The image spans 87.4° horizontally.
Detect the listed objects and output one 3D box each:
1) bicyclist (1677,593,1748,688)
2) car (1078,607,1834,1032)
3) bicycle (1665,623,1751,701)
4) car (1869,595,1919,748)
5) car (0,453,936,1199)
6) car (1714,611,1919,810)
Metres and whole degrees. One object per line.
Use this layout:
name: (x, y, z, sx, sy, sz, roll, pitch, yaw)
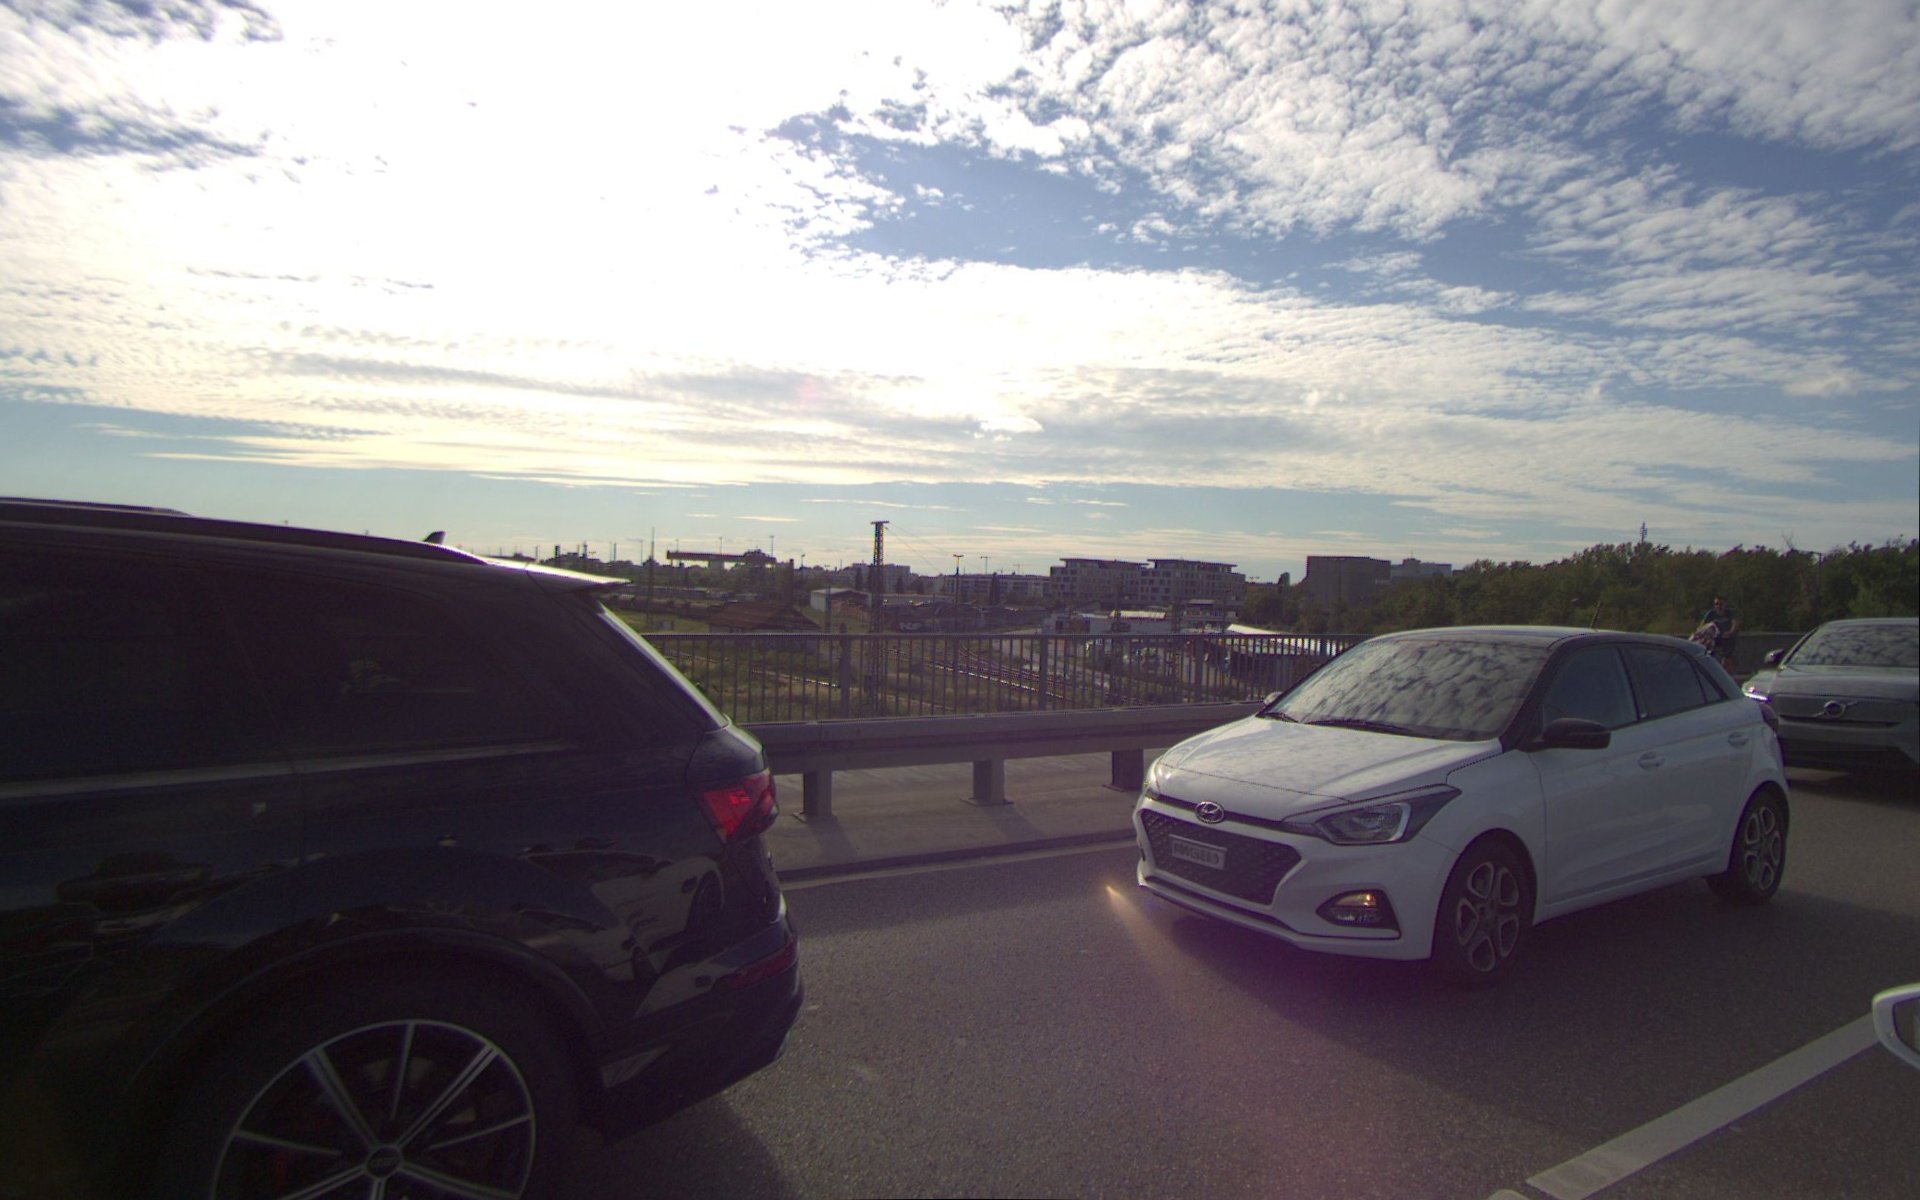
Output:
bicyclist: (13.794, 0.735, 18.418, 1.110, 1.682, 0.761, 2, -1, -37)
car: (2.768, 0.839, 5.386, 4.030, 1.520, 1.732, 1, -1, -31)
bicycle: (13.664, 1.117, 18.333, 1.898, 1.349, 0.758, 2, -1, -37)
car: (14.323, 0.943, 13.673, 4.821, 1.928, 1.993, 1, -1, -36)
car: (-2.595, 0.603, 2.144, 4.807, 1.694, 1.821, 1, -1, -29)
car: (9.284, 0.954, 9.898, 4.270, 1.631, 1.741, 1, -1, -35)
